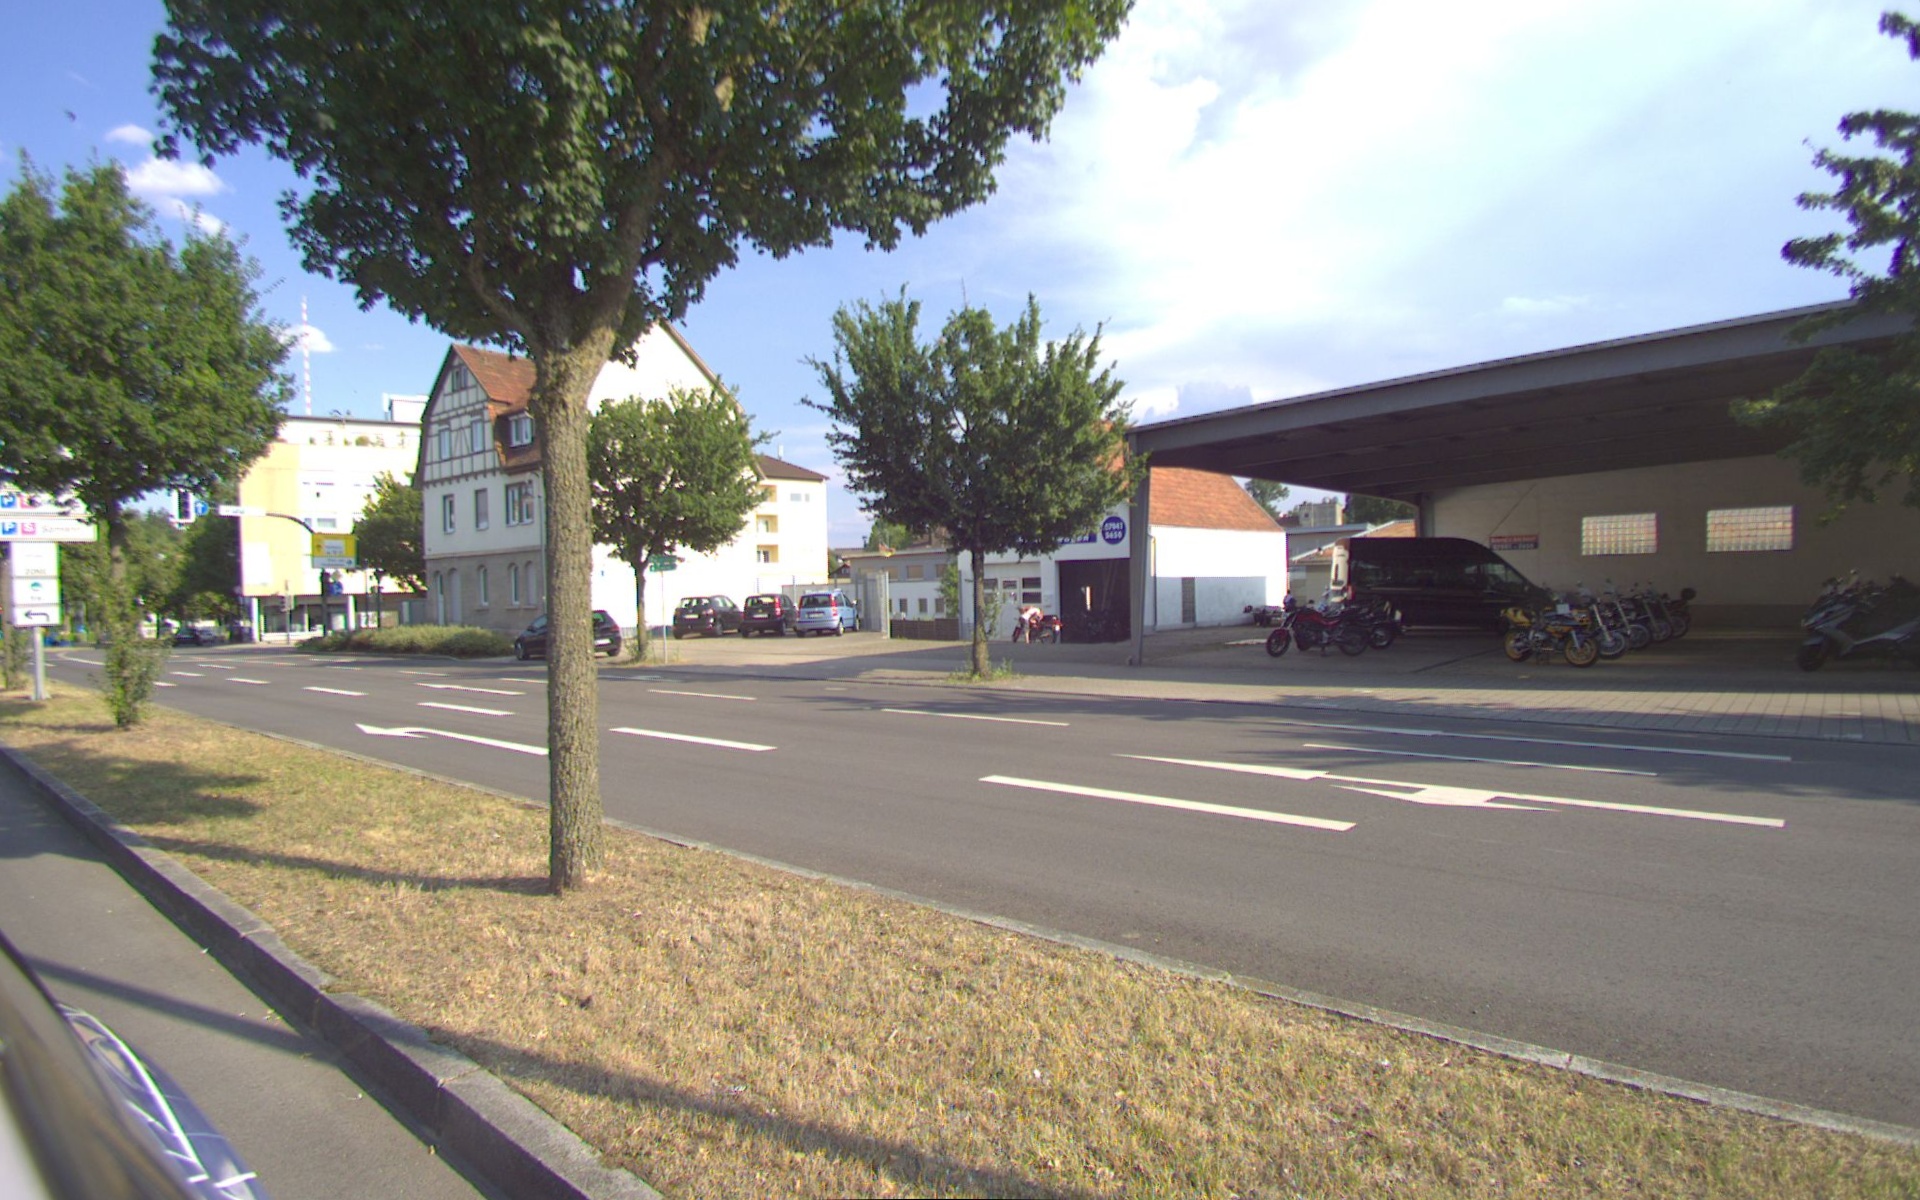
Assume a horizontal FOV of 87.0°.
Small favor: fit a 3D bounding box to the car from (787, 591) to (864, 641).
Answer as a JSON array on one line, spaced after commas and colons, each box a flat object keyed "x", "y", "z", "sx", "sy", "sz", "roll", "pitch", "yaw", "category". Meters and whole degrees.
[{"x": -4.672, "y": 0.523, "z": 35.678, "sx": 1.797, "sy": 1.512, "sz": 3.819, "roll": -3, "pitch": 2, "yaw": 5, "category": "car"}]

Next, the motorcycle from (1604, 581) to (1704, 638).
[{"x": 17.300, "y": 0.224, "z": 25.302, "sx": 0.621, "sy": 1.347, "sz": 2.269, "roll": -1, "pitch": 0, "yaw": -9, "category": "motorcycle"}]

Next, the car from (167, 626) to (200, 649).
[{"x": -61.529, "y": 2.982, "z": 80.258, "sx": 1.753, "sy": 1.706, "sz": 4.011, "roll": -1, "pitch": 0, "yaw": -34, "category": "car"}]

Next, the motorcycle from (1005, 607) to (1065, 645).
[{"x": 2.444, "y": 0.842, "z": 33.210, "sx": 1.974, "sy": 1.194, "sz": 0.577, "roll": -1, "pitch": 0, "yaw": 41, "category": "motorcycle"}]

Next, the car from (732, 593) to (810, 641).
[{"x": -6.911, "y": 0.589, "z": 37.308, "sx": 1.797, "sy": 1.512, "sz": 3.819, "roll": -3, "pitch": 2, "yaw": 5, "category": "car"}]

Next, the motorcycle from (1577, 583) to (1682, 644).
[{"x": 15.546, "y": 0.305, "z": 23.578, "sx": 0.621, "sy": 1.347, "sz": 2.269, "roll": -1, "pitch": 0, "yaw": -9, "category": "motorcycle"}]

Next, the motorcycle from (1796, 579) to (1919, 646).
[{"x": 19.043, "y": 0.260, "z": 21.288, "sx": 2.103, "sy": 1.306, "sz": 0.628, "roll": -3, "pitch": -1, "yaw": 18, "category": "motorcycle"}]

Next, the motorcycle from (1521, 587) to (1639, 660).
[{"x": 12.167, "y": 0.440, "z": 19.955, "sx": 0.621, "sy": 1.347, "sz": 2.269, "roll": -1, "pitch": 0, "yaw": -9, "category": "motorcycle"}]

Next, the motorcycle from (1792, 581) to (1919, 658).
[{"x": 16.540, "y": 0.343, "z": 18.347, "sx": 2.103, "sy": 1.306, "sz": 0.628, "roll": -3, "pitch": -1, "yaw": 18, "category": "motorcycle"}]

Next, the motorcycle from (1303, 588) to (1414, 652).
[{"x": 8.965, "y": 0.453, "z": 22.803, "sx": 2.198, "sy": 1.372, "sz": 0.630, "roll": -1, "pitch": 0, "yaw": 5, "category": "motorcycle"}]

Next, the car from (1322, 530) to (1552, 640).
[{"x": 12.875, "y": -0.375, "z": 27.627, "sx": 5.221, "sy": 2.773, "sz": 1.996, "roll": -1, "pitch": 0, "yaw": 7, "category": "car"}]

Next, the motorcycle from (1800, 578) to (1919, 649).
[{"x": 18.054, "y": 0.273, "z": 19.987, "sx": 2.103, "sy": 1.306, "sz": 0.628, "roll": -3, "pitch": -1, "yaw": 18, "category": "motorcycle"}]

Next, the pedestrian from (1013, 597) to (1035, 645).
[{"x": 2.082, "y": 0.679, "z": 32.764, "sx": 0.485, "sy": 1.530, "sz": 0.496, "roll": -1, "pitch": 0, "yaw": 41, "category": "pedestrian"}]

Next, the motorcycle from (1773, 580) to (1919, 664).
[{"x": 14.922, "y": 0.364, "z": 16.775, "sx": 2.103, "sy": 1.306, "sz": 0.628, "roll": -3, "pitch": -1, "yaw": 18, "category": "motorcycle"}]

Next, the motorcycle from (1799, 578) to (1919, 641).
[{"x": 20.237, "y": 0.211, "z": 22.642, "sx": 2.103, "sy": 1.306, "sz": 0.628, "roll": -3, "pitch": -1, "yaw": 18, "category": "motorcycle"}]

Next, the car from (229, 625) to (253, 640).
[{"x": -86.699, "y": 3.942, "z": 122.026, "sx": 1.752, "sy": 1.706, "sz": 4.013, "roll": -1, "pitch": 0, "yaw": -27, "category": "car"}]

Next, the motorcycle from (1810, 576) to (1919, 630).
[{"x": 23.743, "y": 0.077, "z": 26.519, "sx": 2.103, "sy": 1.306, "sz": 0.628, "roll": -3, "pitch": -1, "yaw": 18, "category": "motorcycle"}]

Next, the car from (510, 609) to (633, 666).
[{"x": -11.591, "y": 1.082, "z": 30.077, "sx": 3.823, "sy": 1.462, "sz": 1.795, "roll": -1, "pitch": 2, "yaw": 42, "category": "car"}]

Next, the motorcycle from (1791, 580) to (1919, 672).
[{"x": 13.869, "y": 0.378, "z": 15.114, "sx": 2.103, "sy": 1.306, "sz": 0.628, "roll": -3, "pitch": -1, "yaw": 18, "category": "motorcycle"}]

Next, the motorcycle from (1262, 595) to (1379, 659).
[{"x": 7.505, "y": 0.564, "z": 21.159, "sx": 2.202, "sy": 1.290, "sz": 0.629, "roll": -1, "pitch": 0, "yaw": 11, "category": "motorcycle"}]

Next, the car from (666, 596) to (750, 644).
[{"x": -9.312, "y": 0.693, "z": 37.700, "sx": 1.797, "sy": 1.512, "sz": 3.819, "roll": -3, "pitch": 2, "yaw": 5, "category": "car"}]

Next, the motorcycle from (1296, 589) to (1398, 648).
[{"x": 9.388, "y": 0.455, "z": 24.607, "sx": 2.198, "sy": 1.372, "sz": 0.630, "roll": -1, "pitch": 0, "yaw": 5, "category": "motorcycle"}]

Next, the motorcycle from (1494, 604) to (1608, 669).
[{"x": 10.540, "y": 0.621, "z": 18.151, "sx": 0.621, "sy": 1.095, "sz": 2.038, "roll": -1, "pitch": 0, "yaw": -7, "category": "motorcycle"}]

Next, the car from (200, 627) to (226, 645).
[{"x": -76.916, "y": 3.695, "z": 104.296, "sx": 1.752, "sy": 1.706, "sz": 4.012, "roll": -1, "pitch": 0, "yaw": -31, "category": "car"}]

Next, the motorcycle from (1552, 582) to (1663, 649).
[{"x": 13.873, "y": 0.327, "z": 21.768, "sx": 0.621, "sy": 1.347, "sz": 2.269, "roll": -1, "pitch": 0, "yaw": -9, "category": "motorcycle"}]
